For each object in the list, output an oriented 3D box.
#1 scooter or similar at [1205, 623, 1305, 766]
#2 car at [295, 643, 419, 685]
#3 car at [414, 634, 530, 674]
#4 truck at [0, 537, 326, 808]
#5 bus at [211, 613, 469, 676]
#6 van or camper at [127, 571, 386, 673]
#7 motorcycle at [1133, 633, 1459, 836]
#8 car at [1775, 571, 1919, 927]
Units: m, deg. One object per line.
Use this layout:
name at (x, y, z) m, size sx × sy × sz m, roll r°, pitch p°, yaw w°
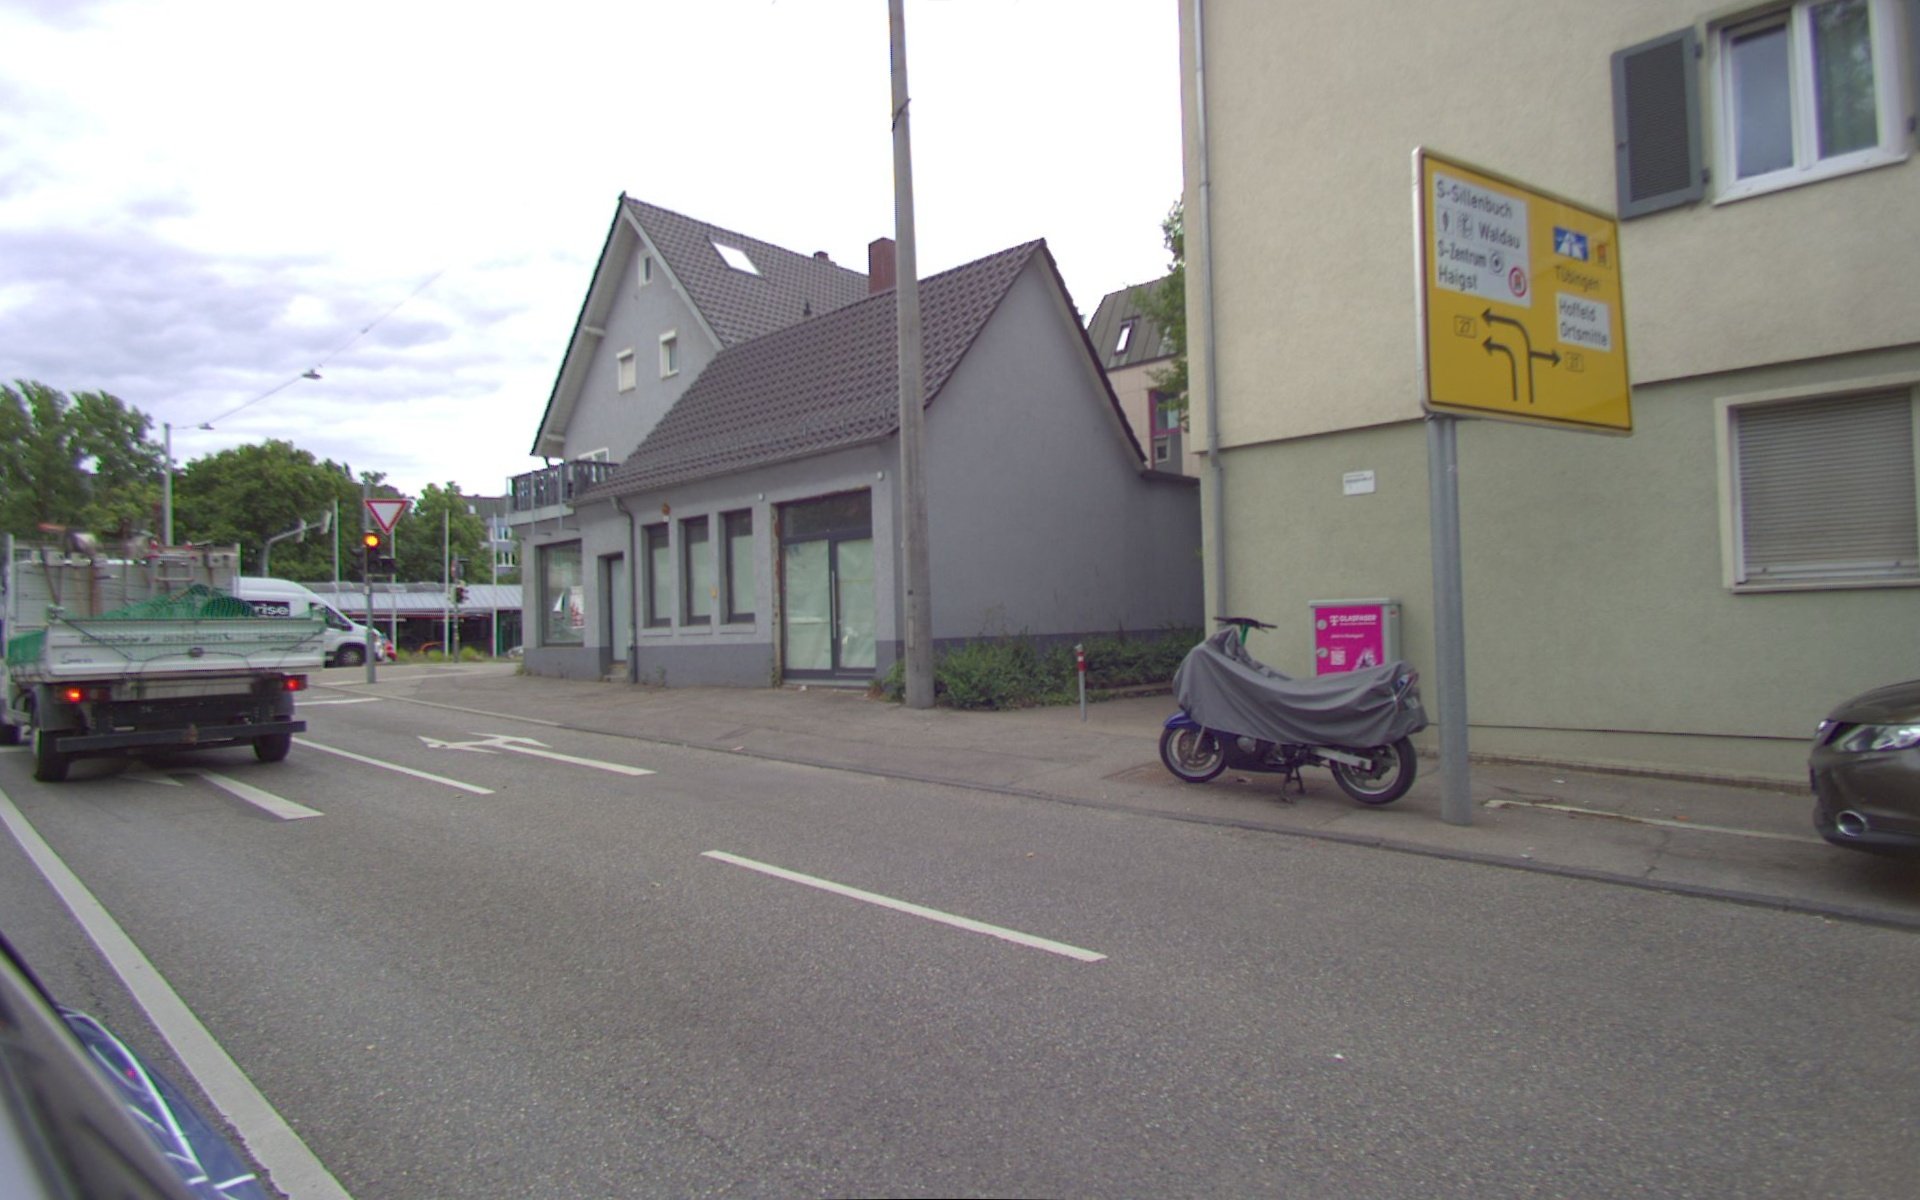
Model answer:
scooter or similar at (2.834, 0.880, 9.790) m, size 0.351 × 1.274 × 0.989 m, roll -1°, pitch 0°, yaw -24°
car at (-26.218, 2.727, 44.085) m, size 1.998 × 1.652 × 4.228 m, roll -1°, pitch -2°, yaw 39°
car at (-21.662, 2.343, 45.024) m, size 1.998 × 1.652 × 4.228 m, roll -1°, pitch -2°, yaw 39°
truck at (-9.336, 0.696, 11.323) m, size 6.589 × 2.218 × 2.098 m, roll -2°, pitch -3°, yaw 43°
bus at (-32.855, 2.329, 54.328) m, size 11.683 × 3.086 × 2.001 m, roll 1°, pitch -4°, yaw -45°
van or camper at (-20.373, 0.629, 29.574) m, size 2.258 × 2.693 × 5.854 m, roll -1°, pitch -2°, yaw 43°
motorcycle at (2.443, 0.914, 7.599) m, size 2.228 × 1.300 × 0.619 m, roll -2°, pitch 0°, yaw 41°
car at (6.407, 0.641, 4.161) m, size 4.693 × 1.645 × 1.803 m, roll -2°, pitch -1°, yaw 41°
